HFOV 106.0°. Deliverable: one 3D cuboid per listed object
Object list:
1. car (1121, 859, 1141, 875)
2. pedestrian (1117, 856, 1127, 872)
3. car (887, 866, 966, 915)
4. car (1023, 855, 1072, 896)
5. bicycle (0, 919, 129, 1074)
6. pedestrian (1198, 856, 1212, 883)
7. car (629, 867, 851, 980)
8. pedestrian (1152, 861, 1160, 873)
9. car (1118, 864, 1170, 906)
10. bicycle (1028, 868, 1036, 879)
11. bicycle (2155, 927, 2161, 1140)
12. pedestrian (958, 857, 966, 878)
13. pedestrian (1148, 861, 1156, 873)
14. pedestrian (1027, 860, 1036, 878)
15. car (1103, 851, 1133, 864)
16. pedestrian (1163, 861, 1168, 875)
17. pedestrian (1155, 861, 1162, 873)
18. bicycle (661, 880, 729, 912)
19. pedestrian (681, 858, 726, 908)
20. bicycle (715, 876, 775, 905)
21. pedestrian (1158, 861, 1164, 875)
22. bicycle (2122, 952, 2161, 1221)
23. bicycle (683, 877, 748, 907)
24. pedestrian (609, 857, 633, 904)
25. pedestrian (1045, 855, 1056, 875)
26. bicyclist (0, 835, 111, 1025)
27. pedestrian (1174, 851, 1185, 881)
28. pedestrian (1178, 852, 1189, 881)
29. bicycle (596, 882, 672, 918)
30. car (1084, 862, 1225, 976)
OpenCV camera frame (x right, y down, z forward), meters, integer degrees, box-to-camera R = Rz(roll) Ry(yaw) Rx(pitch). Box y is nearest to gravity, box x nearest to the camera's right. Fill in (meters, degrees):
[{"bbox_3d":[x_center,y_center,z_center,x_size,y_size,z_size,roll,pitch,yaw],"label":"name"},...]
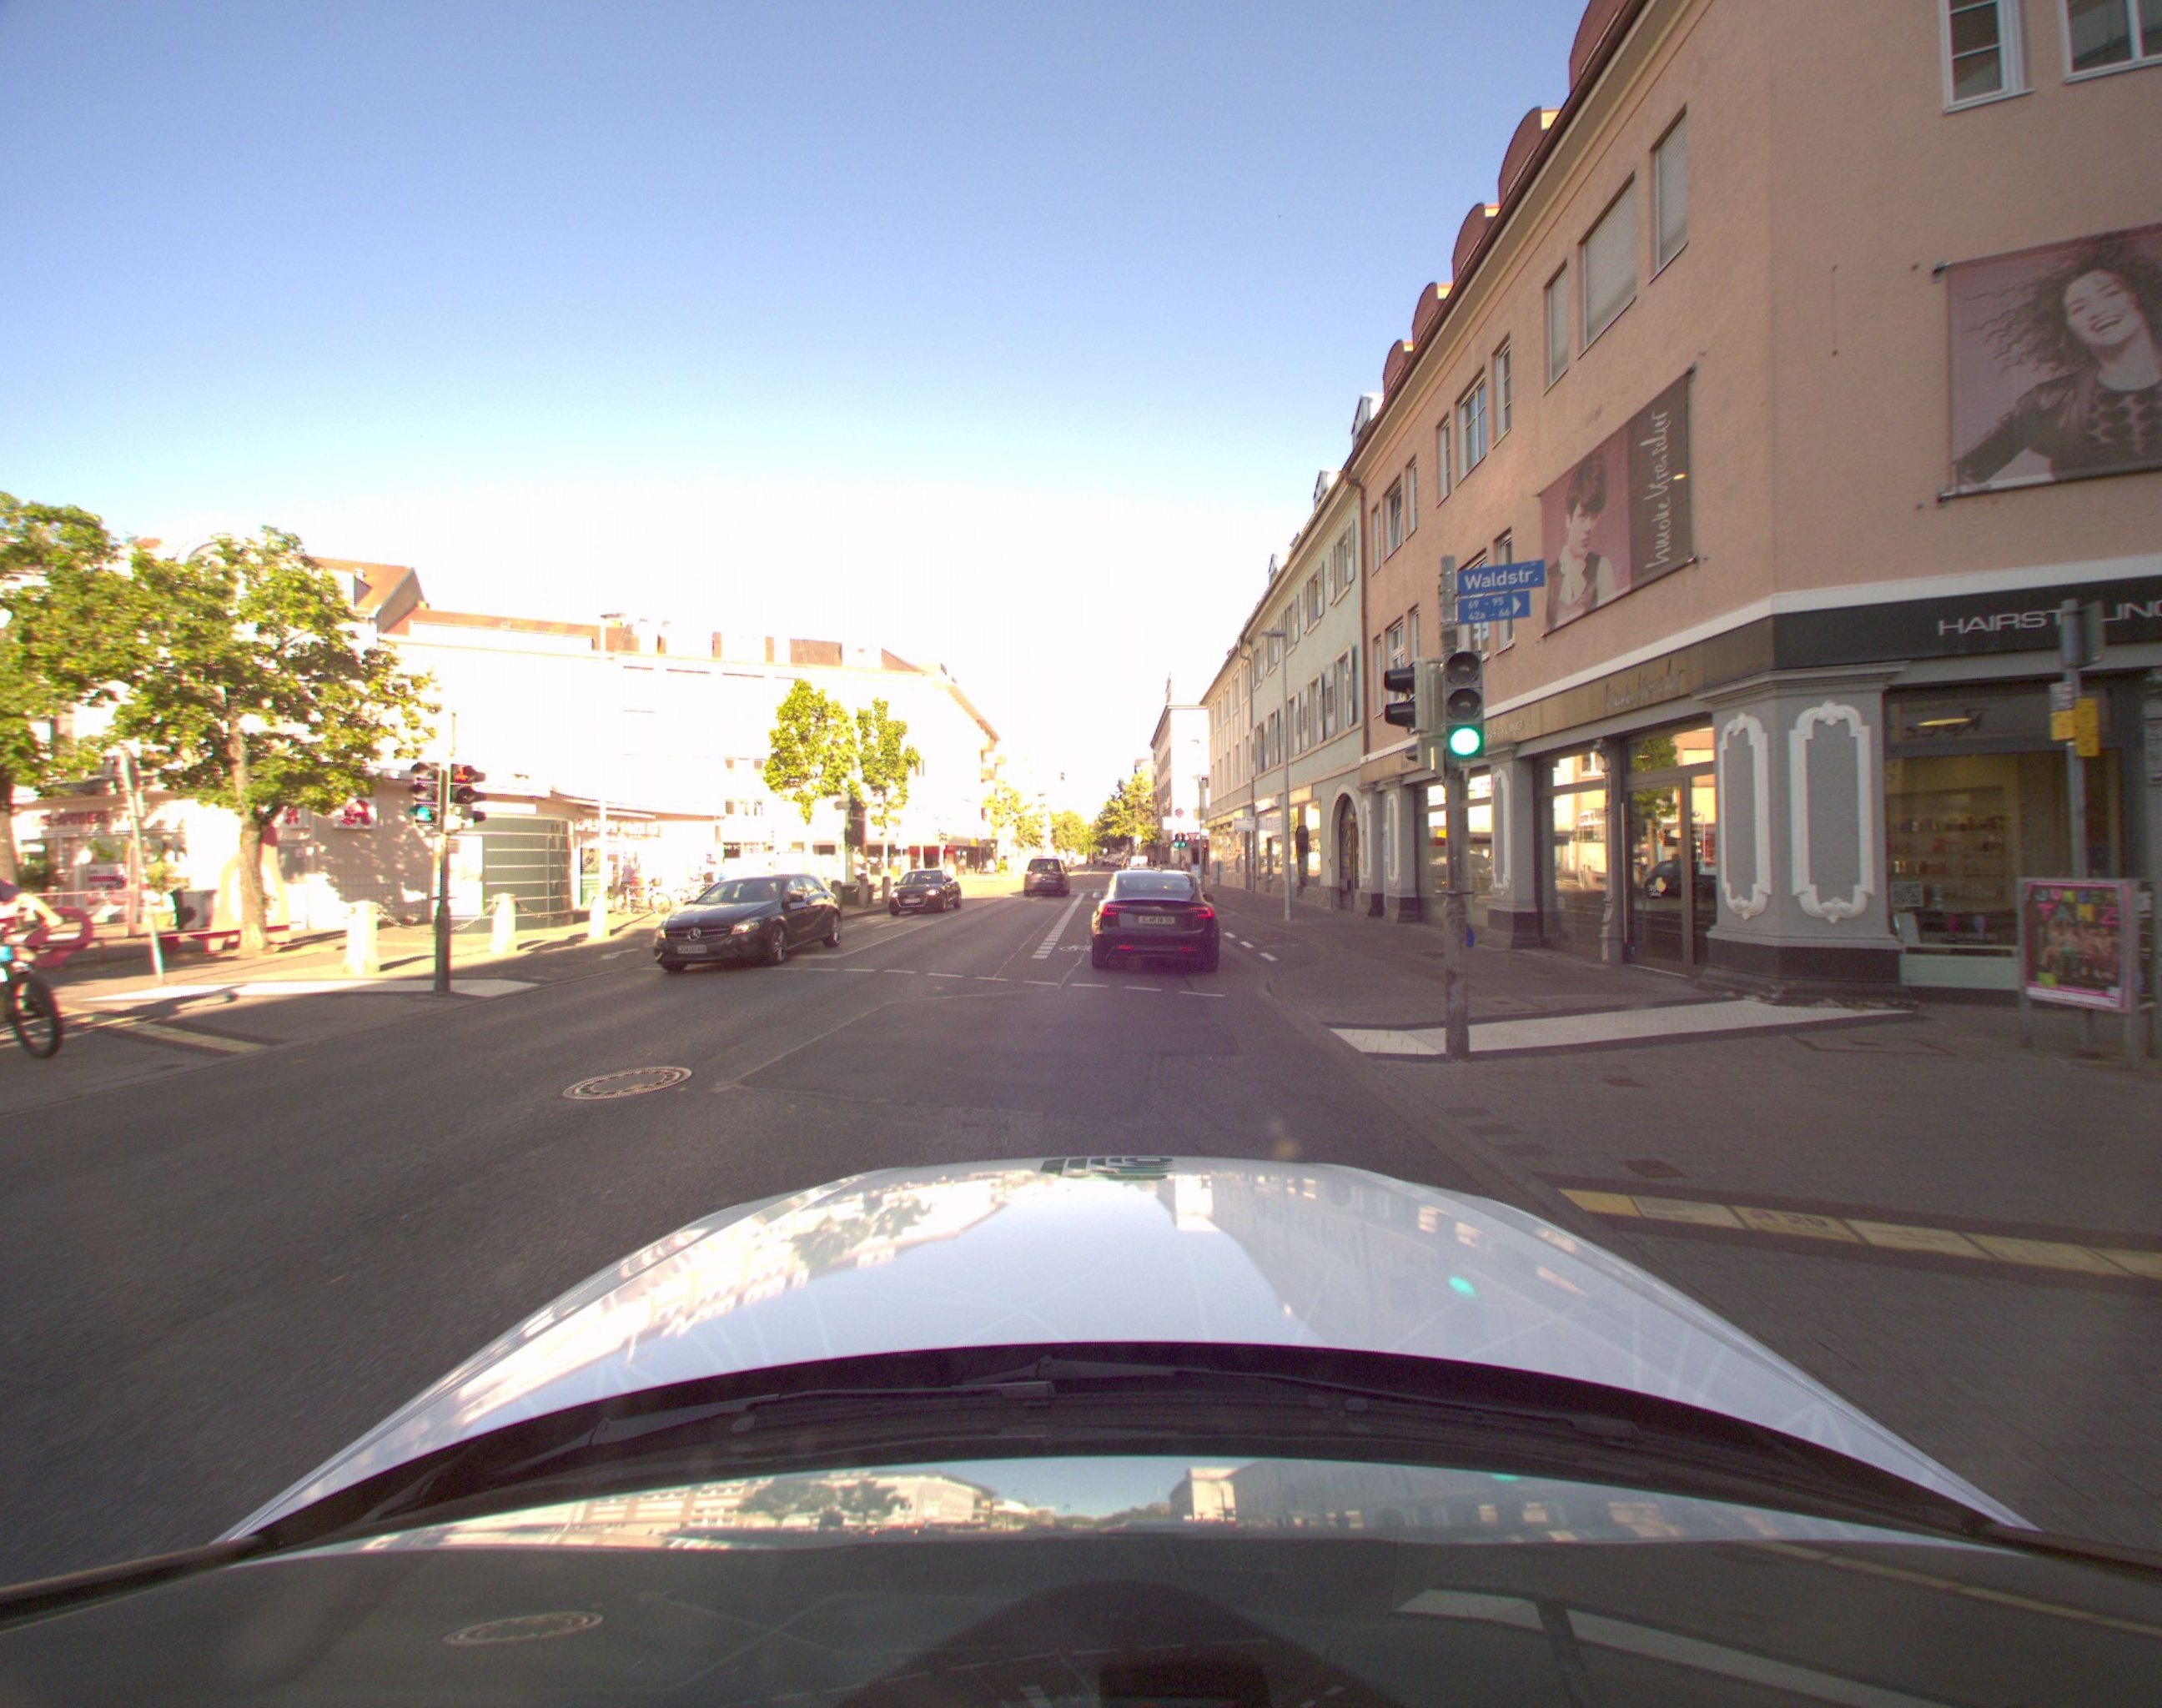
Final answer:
[{"bbox_3d":[5.251,1.378,86.656,1.993,1.636,4.289,-1,0,2],"label":"car"},{"bbox_3d":[5.158,1.244,103.133,0.950,1.915,1.110,-1,-1,17],"label":"pedestrian"},{"bbox_3d":[-4.975,1.132,26.754,1.644,1.397,4.045,-2,0,2],"label":"car"},{"bbox_3d":[-1.450,0.941,36.812,1.897,1.733,4.290,-1,0,2],"label":"car"},{"bbox_3d":[-9.606,1.210,7.281,2.150,1.072,0.768,2,0,22],"label":"bicycle"},{"bbox_3d":[7.920,0.995,52.039,0.687,1.703,0.913,-2,-1,2],"label":"pedestrian"},{"bbox_3d":[-5.461,1.026,13.730,1.742,1.423,4.256,-5,-1,2],"label":"car"},{"bbox_3d":[8.346,1.452,90.427,0.728,1.347,1.059,-1,-1,-1],"label":"pedestrian"},{"bbox_3d":[2.245,1.073,29.757,1.754,1.419,4.358,0,-1,3],"label":"car"},{"bbox_3d":[-4.563,1.799,75.642,0.480,0.955,1.449,-1,-1,-12],"label":"bicycle"},{"bbox_3d":[5.893,0.829,3.419,1.806,0.994,0.566,-1,-1,7],"label":"bicycle"},{"bbox_3d":[-10.189,1.158,69.975,0.557,1.709,0.712,-1,-1,-1],"label":"pedestrian"},{"bbox_3d":[7.975,1.463,91.543,0.707,1.347,1.059,-1,-1,-2],"label":"pedestrian"},{"bbox_3d":[-4.592,1.382,75.660,0.791,1.712,0.651,0,-1,-14],"label":"pedestrian"},{"bbox_3d":[6.732,0.675,148.399,5.374,2.145,2.000,-1,-1,0],"label":"car"},{"bbox_3d":[8.501,1.392,81.704,0.485,1.322,0.655,-1,-1,9],"label":"pedestrian"},{"bbox_3d":[8.760,1.449,91.690,0.728,1.360,0.959,-1,-1,1],"label":"pedestrian"},{"bbox_3d":[-12.571,1.351,26.524,1.873,1.002,0.767,0,-1,9],"label":"bicycle"},{"bbox_3d":[-13.086,0.997,28.251,1.074,1.698,0.906,0,-1,15],"label":"pedestrian"},{"bbox_3d":[-12.842,1.397,31.180,1.980,1.088,0.754,0,-1,3],"label":"bicycle"},{"bbox_3d":[7.929,1.394,80.934,0.584,1.313,0.560,-1,-1,1],"label":"pedestrian"},{"bbox_3d":[4.897,0.863,2.562,1.891,1.020,0.564,-3,-2,29],"label":"bicycle"},{"bbox_3d":[-12.957,1.344,28.887,1.997,1.002,0.892,-1,-1,15],"label":"bicycle"},{"bbox_3d":[-17.066,0.974,30.211,0.517,1.709,0.611,-1,-1,1],"label":"pedestrian"},{"bbox_3d":[-2.896,1.008,76.808,0.779,1.866,0.997,-3,0,-13],"label":"pedestrian"},{"bbox_3d":[-9.646,0.658,7.308,0.795,1.648,0.999,0,-1,23],"label":"bicyclist"},{"bbox_3d":[6.069,0.745,50.214,0.637,1.842,0.682,-1,-1,1],"label":"pedestrian"},{"bbox_3d":[6.258,0.777,49.667,0.570,1.759,0.649,0,-1,1],"label":"pedestrian"},{"bbox_3d":[-13.138,1.331,23.963,1.873,1.002,0.767,0,-1,9],"label":"bicycle"},{"bbox_3d":[1.065,0.889,13.013,1.862,1.427,4.367,-1,0,2],"label":"car"}]
